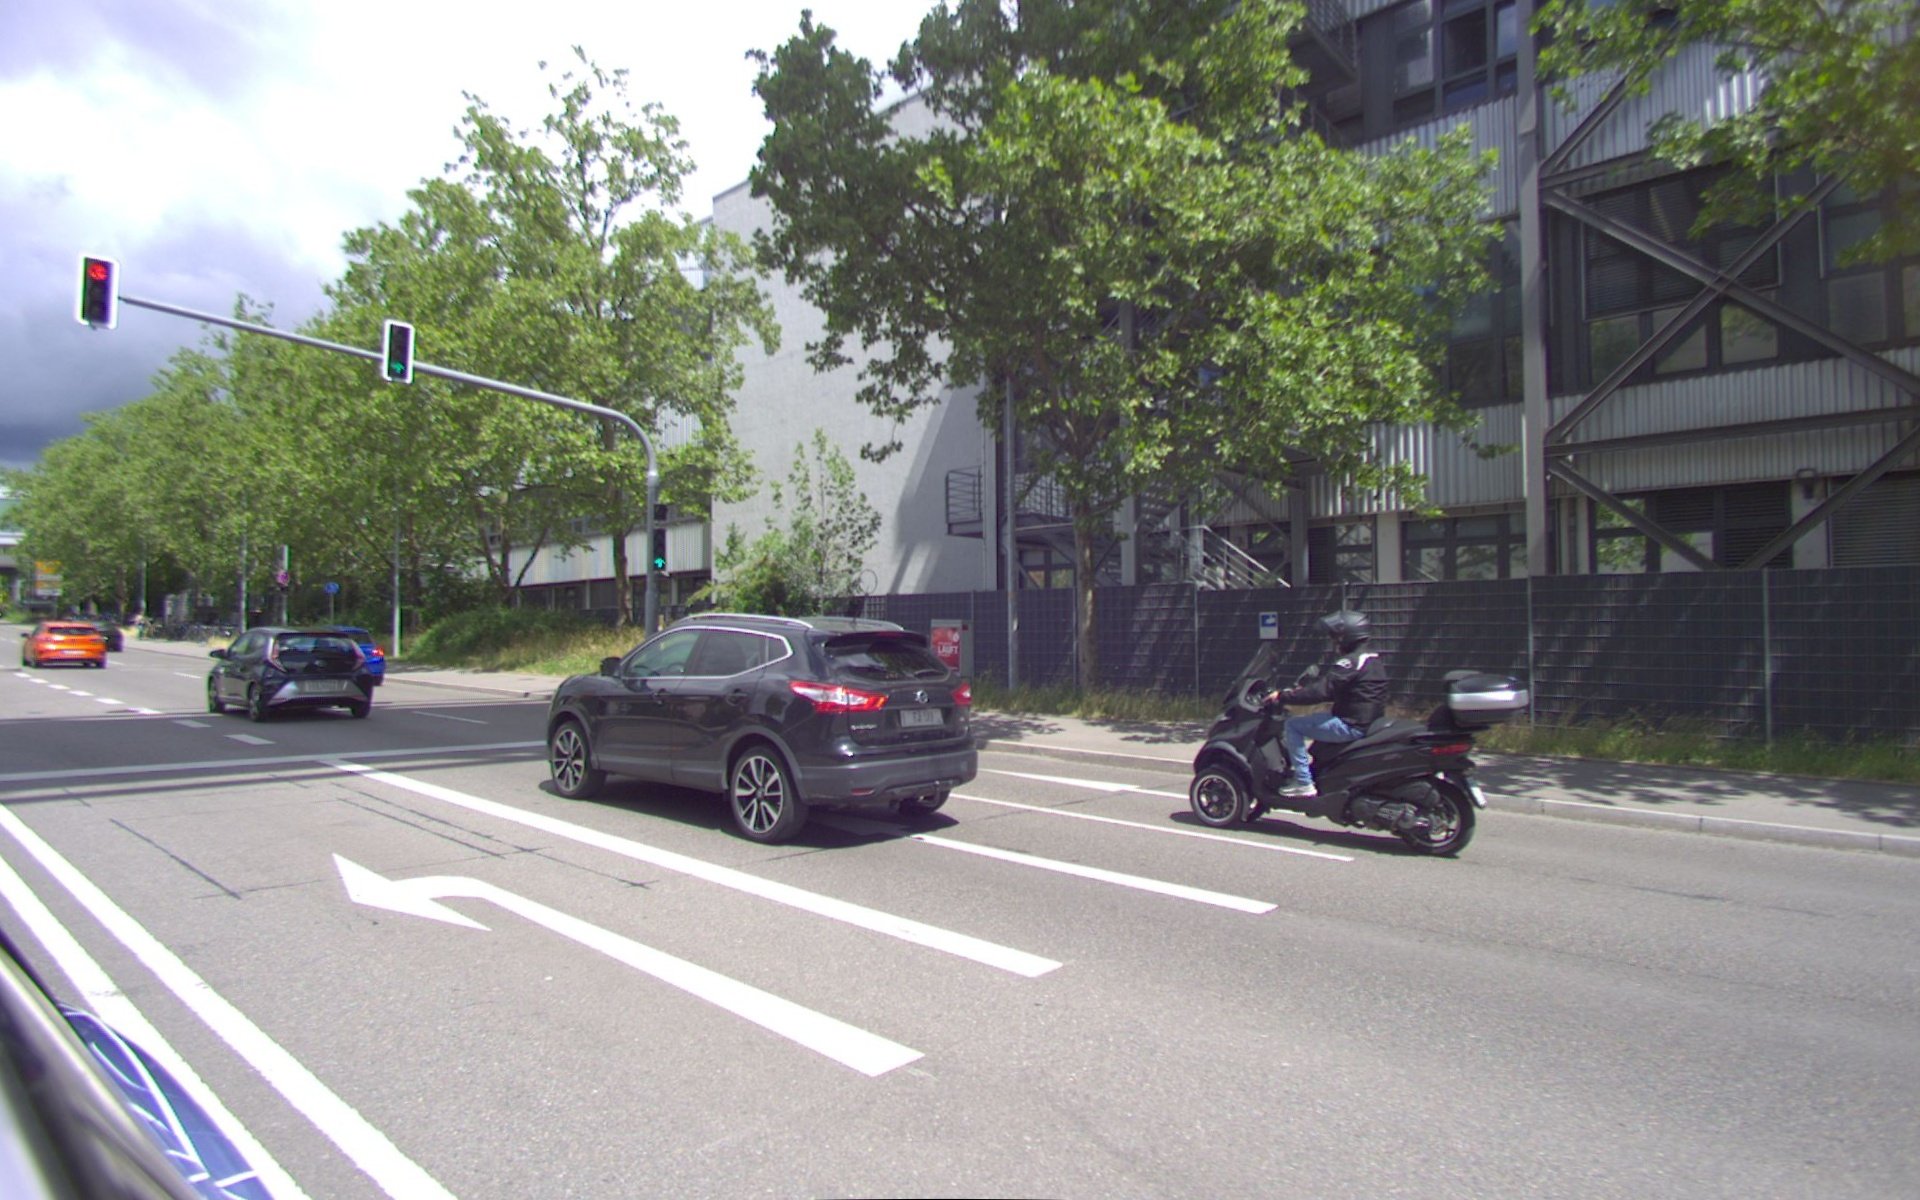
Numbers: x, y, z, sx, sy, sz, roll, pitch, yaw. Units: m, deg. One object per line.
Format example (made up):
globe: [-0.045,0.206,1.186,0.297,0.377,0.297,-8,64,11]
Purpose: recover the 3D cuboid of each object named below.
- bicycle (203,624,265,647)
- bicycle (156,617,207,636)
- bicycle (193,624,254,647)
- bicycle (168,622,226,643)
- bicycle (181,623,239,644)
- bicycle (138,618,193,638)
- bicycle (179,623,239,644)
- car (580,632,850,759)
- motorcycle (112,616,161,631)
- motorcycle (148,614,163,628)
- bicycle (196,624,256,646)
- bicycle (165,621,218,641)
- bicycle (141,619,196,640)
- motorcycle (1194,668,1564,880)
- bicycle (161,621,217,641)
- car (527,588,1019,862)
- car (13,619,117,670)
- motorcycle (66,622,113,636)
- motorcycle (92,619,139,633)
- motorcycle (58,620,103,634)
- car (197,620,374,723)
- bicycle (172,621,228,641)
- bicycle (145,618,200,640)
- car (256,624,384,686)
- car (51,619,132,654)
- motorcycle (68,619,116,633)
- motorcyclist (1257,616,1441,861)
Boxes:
bicycle: [-37.400,1.814,52.168,2.525,1.093,0.616,0,0,-43]
bicycle: [-45.843,1.552,59.607,2.376,1.093,0.617,0,0,-38]
bicycle: [-38.435,1.856,52.836,2.525,1.093,0.616,0,0,-43]
bicycle: [-42.751,1.808,56.709,0.628,1.093,2.527,-1,0,44]
bicycle: [-41.147,1.828,55.555,0.615,1.093,2.531,-1,0,38]
bicycle: [-47.967,1.684,61.128,0.615,1.187,2.529,-1,0,42]
bicycle: [-40.694,1.808,54.869,0.614,1.093,2.536,-1,0,33]
car: [-3.413,1.198,13.716,3.918,1.439,1.560,-1,-3,41]
motorcycle: [-61.257,1.760,75.335,0.600,1.044,2.792,-5,-3,44]
motorcycle: [-64.334,1.674,80.899,2.590,1.044,0.591,-5,-3,44]
bicycle: [-38.931,1.847,53.699,2.524,1.093,0.616,0,0,-41]
bicycle: [-44.617,1.795,58.806,0.615,1.093,2.382,-1,0,40]
bicycle: [-47.271,1.728,60.473,0.615,1.187,2.529,-1,0,42]
motorcycle: [2.936,1.146,7.297,2.373,1.229,0.668,-1,-3,38]
bicycle: [-44.145,1.756,57.978,2.525,1.093,0.616,0,0,-43]
car: [-1.710,0.825,8.335,4.212,1.697,1.718,-1,-3,41]
car: [-28.013,1.384,31.643,3.901,1.465,1.865,-1,-3,41]
motorcycle: [-69.307,2.317,80.625,0.600,1.044,2.792,-5,-3,44]
motorcycle: [-65.629,2.020,78.703,2.790,1.044,0.601,-1,-3,-43]
motorcycle: [-72.962,2.231,83.970,0.600,1.044,2.792,-5,-3,44]
car: [-11.191,1.118,16.720,3.612,1.516,1.541,-1,-3,42]
bicycle: [-43.135,1.761,57.484,2.522,1.093,0.617,0,0,-36]
bicycle: [-46.701,1.714,60.038,0.615,1.187,2.529,-1,0,42]
car: [-16.197,1.343,25.561,3.819,1.440,1.675,-1,-3,41]
car: [-39.125,1.640,45.571,4.765,1.465,1.973,0,-3,40]
motorcycle: [-67.345,2.001,78.580,0.600,1.044,2.792,-5,-3,44]
motorcyclist: [2.840,0.940,7.400,1.094,1.635,0.726,-1,-3,38]
